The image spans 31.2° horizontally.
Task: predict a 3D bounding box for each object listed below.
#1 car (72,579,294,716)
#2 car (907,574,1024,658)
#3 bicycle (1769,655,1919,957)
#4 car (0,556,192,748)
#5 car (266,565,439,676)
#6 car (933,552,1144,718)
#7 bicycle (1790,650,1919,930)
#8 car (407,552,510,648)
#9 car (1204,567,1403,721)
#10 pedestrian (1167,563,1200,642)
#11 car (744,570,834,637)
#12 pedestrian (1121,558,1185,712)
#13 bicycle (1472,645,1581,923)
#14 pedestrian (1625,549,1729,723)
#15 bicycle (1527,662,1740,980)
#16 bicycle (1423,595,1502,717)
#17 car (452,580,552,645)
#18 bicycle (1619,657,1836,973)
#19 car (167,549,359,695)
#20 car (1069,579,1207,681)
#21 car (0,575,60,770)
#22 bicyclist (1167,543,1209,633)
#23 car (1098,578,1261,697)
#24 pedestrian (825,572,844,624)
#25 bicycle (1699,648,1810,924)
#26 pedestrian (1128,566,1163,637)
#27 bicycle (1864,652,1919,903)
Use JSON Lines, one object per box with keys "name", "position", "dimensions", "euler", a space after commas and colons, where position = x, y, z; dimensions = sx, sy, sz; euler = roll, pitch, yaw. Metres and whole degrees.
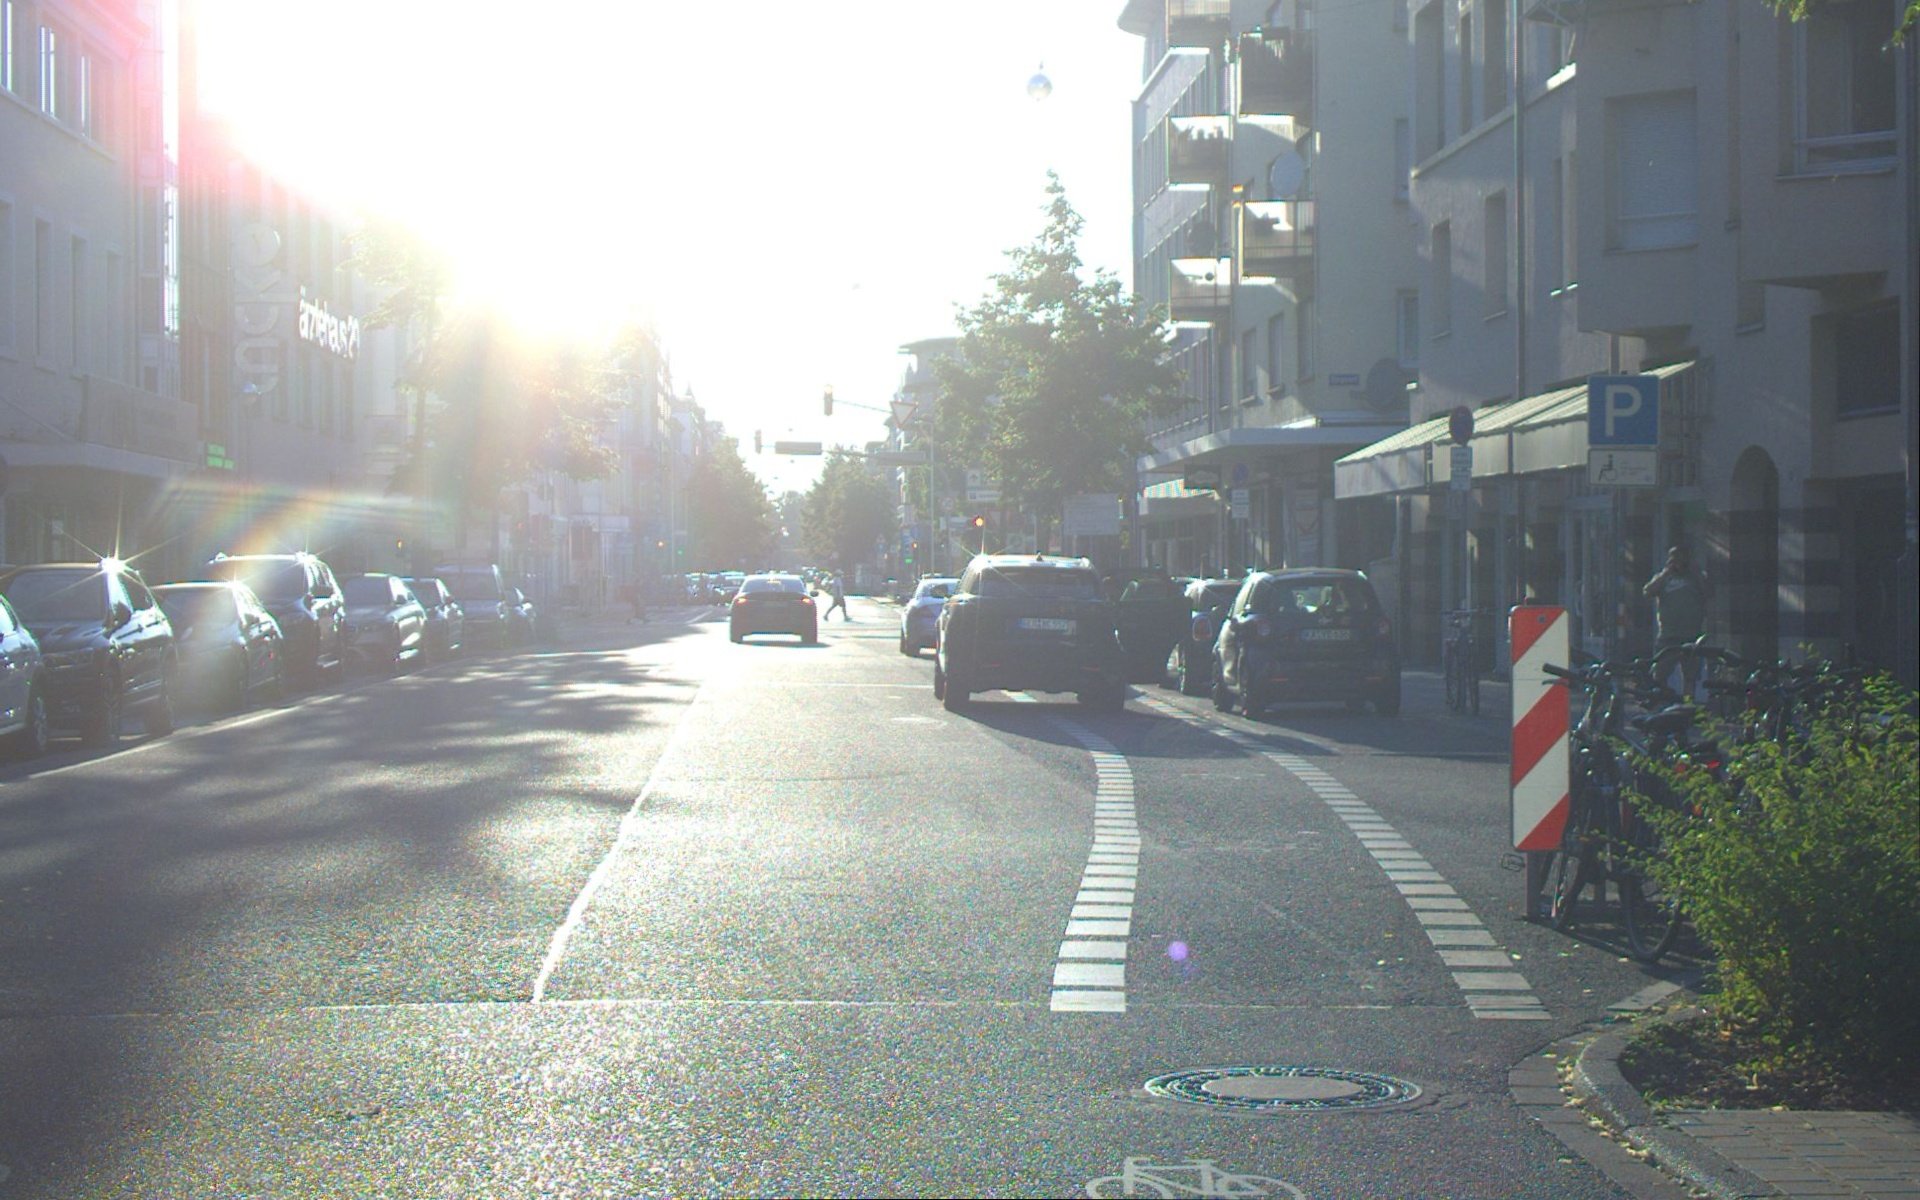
{"name": "car", "position": [-8.959, 0.506, 39.953], "dimensions": [1.713, 1.435, 4.310], "euler": [-2, 1, -2]}
{"name": "car", "position": [0.060, 0.265, 62.566], "dimensions": [1.922, 1.410, 4.548], "euler": [2, 0, -2]}
{"name": "bicycle", "position": [3.684, 0.777, 13.003], "dimensions": [0.381, 1.096, 1.523], "euler": [-1, 1, -23]}
{"name": "car", "position": [-8.311, 0.419, 31.379], "dimensions": [1.774, 1.627, 4.238], "euler": [0, 1, -2]}
{"name": "car", "position": [-9.319, 0.273, 53.109], "dimensions": [1.827, 1.551, 5.136], "euler": [-2, 1, -1]}
{"name": "car", "position": [0.791, 0.341, 37.741], "dimensions": [1.995, 1.649, 4.674], "euler": [2, 0, -2]}
{"name": "bicycle", "position": [3.966, 0.786, 14.787], "dimensions": [0.382, 1.096, 1.565], "euler": [0, 1, -1]}
{"name": "car", "position": [-9.911, -0.007, 68.173], "dimensions": [1.832, 1.848, 4.124], "euler": [0, 0, -6]}
{"name": "car", "position": [3.645, 0.439, 36.838], "dimensions": [1.632, 1.548, 2.695], "euler": [-1, 1, -5]}
{"name": "pedestrian", "position": [4.912, 0.059, 75.662], "dimensions": [0.688, 1.716, 0.716], "euler": [-1, 0, 4]}
{"name": "car", "position": [-3.696, 0.056, 74.914], "dimensions": [1.883, 1.410, 4.325], "euler": [0, 0, -2]}
{"name": "pedestrian", "position": [2.104, 0.380, 37.514], "dimensions": [0.441, 1.659, 0.565], "euler": [-1, 1, -27]}
{"name": "bicycle", "position": [2.478, 0.778, 15.121], "dimensions": [0.362, 1.137, 1.565], "euler": [0, 0, 6]}
{"name": "pedestrian", "position": [6.943, 0.345, 33.316], "dimensions": [0.810, 1.641, 0.606], "euler": [-2, 0, -2]}
{"name": "bicycle", "position": [2.558, 0.811, 13.168], "dimensions": [0.381, 1.096, 1.523], "euler": [-1, 1, -5]}
{"name": "bicycle", "position": [5.261, 0.572, 36.084], "dimensions": [0.397, 1.230, 1.826], "euler": [-1, 1, -5]}
{"name": "car", "position": [-9.901, 0.253, 74.597], "dimensions": [1.833, 1.323, 4.124], "euler": [0, 1, -3]}
{"name": "bicycle", "position": [2.979, 0.805, 13.448], "dimensions": [0.381, 1.096, 1.523], "euler": [-1, 2, -5]}
{"name": "car", "position": [-9.348, 0.247, 46.473], "dimensions": [1.827, 1.804, 5.349], "euler": [-2, 1, -4]}
{"name": "car", "position": [2.625, 0.419, 51.402], "dimensions": [1.703, 1.431, 3.932], "euler": [-1, 0, -2]}
{"name": "car", "position": [-8.369, 0.569, 26.809], "dimensions": [1.774, 1.510, 3.950], "euler": [0, 1, -2]}
{"name": "bicyclist", "position": [4.337, -0.223, 65.481], "dimensions": [0.650, 1.696, 1.095], "euler": [0, 0, -4]}
{"name": "car", "position": [2.739, 0.441, 43.623], "dimensions": [1.633, 1.419, 3.758], "euler": [-1, 1, -3]}
{"name": "pedestrian", "position": [-4.174, -0.081, 114.431], "dimensions": [0.494, 1.709, 0.462], "euler": [0, 1, -22]}
{"name": "bicycle", "position": [3.463, 0.782, 15.041], "dimensions": [0.371, 1.104, 1.522], "euler": [0, 1, 9]}
{"name": "pedestrian", "position": [4.087, 0.031, 75.856], "dimensions": [0.688, 1.553, 0.863], "euler": [0, 0, -2]}
{"name": "bicycle", "position": [4.447, 0.793, 15.163], "dimensions": [0.381, 1.096, 1.523], "euler": [0, 0, -6]}
